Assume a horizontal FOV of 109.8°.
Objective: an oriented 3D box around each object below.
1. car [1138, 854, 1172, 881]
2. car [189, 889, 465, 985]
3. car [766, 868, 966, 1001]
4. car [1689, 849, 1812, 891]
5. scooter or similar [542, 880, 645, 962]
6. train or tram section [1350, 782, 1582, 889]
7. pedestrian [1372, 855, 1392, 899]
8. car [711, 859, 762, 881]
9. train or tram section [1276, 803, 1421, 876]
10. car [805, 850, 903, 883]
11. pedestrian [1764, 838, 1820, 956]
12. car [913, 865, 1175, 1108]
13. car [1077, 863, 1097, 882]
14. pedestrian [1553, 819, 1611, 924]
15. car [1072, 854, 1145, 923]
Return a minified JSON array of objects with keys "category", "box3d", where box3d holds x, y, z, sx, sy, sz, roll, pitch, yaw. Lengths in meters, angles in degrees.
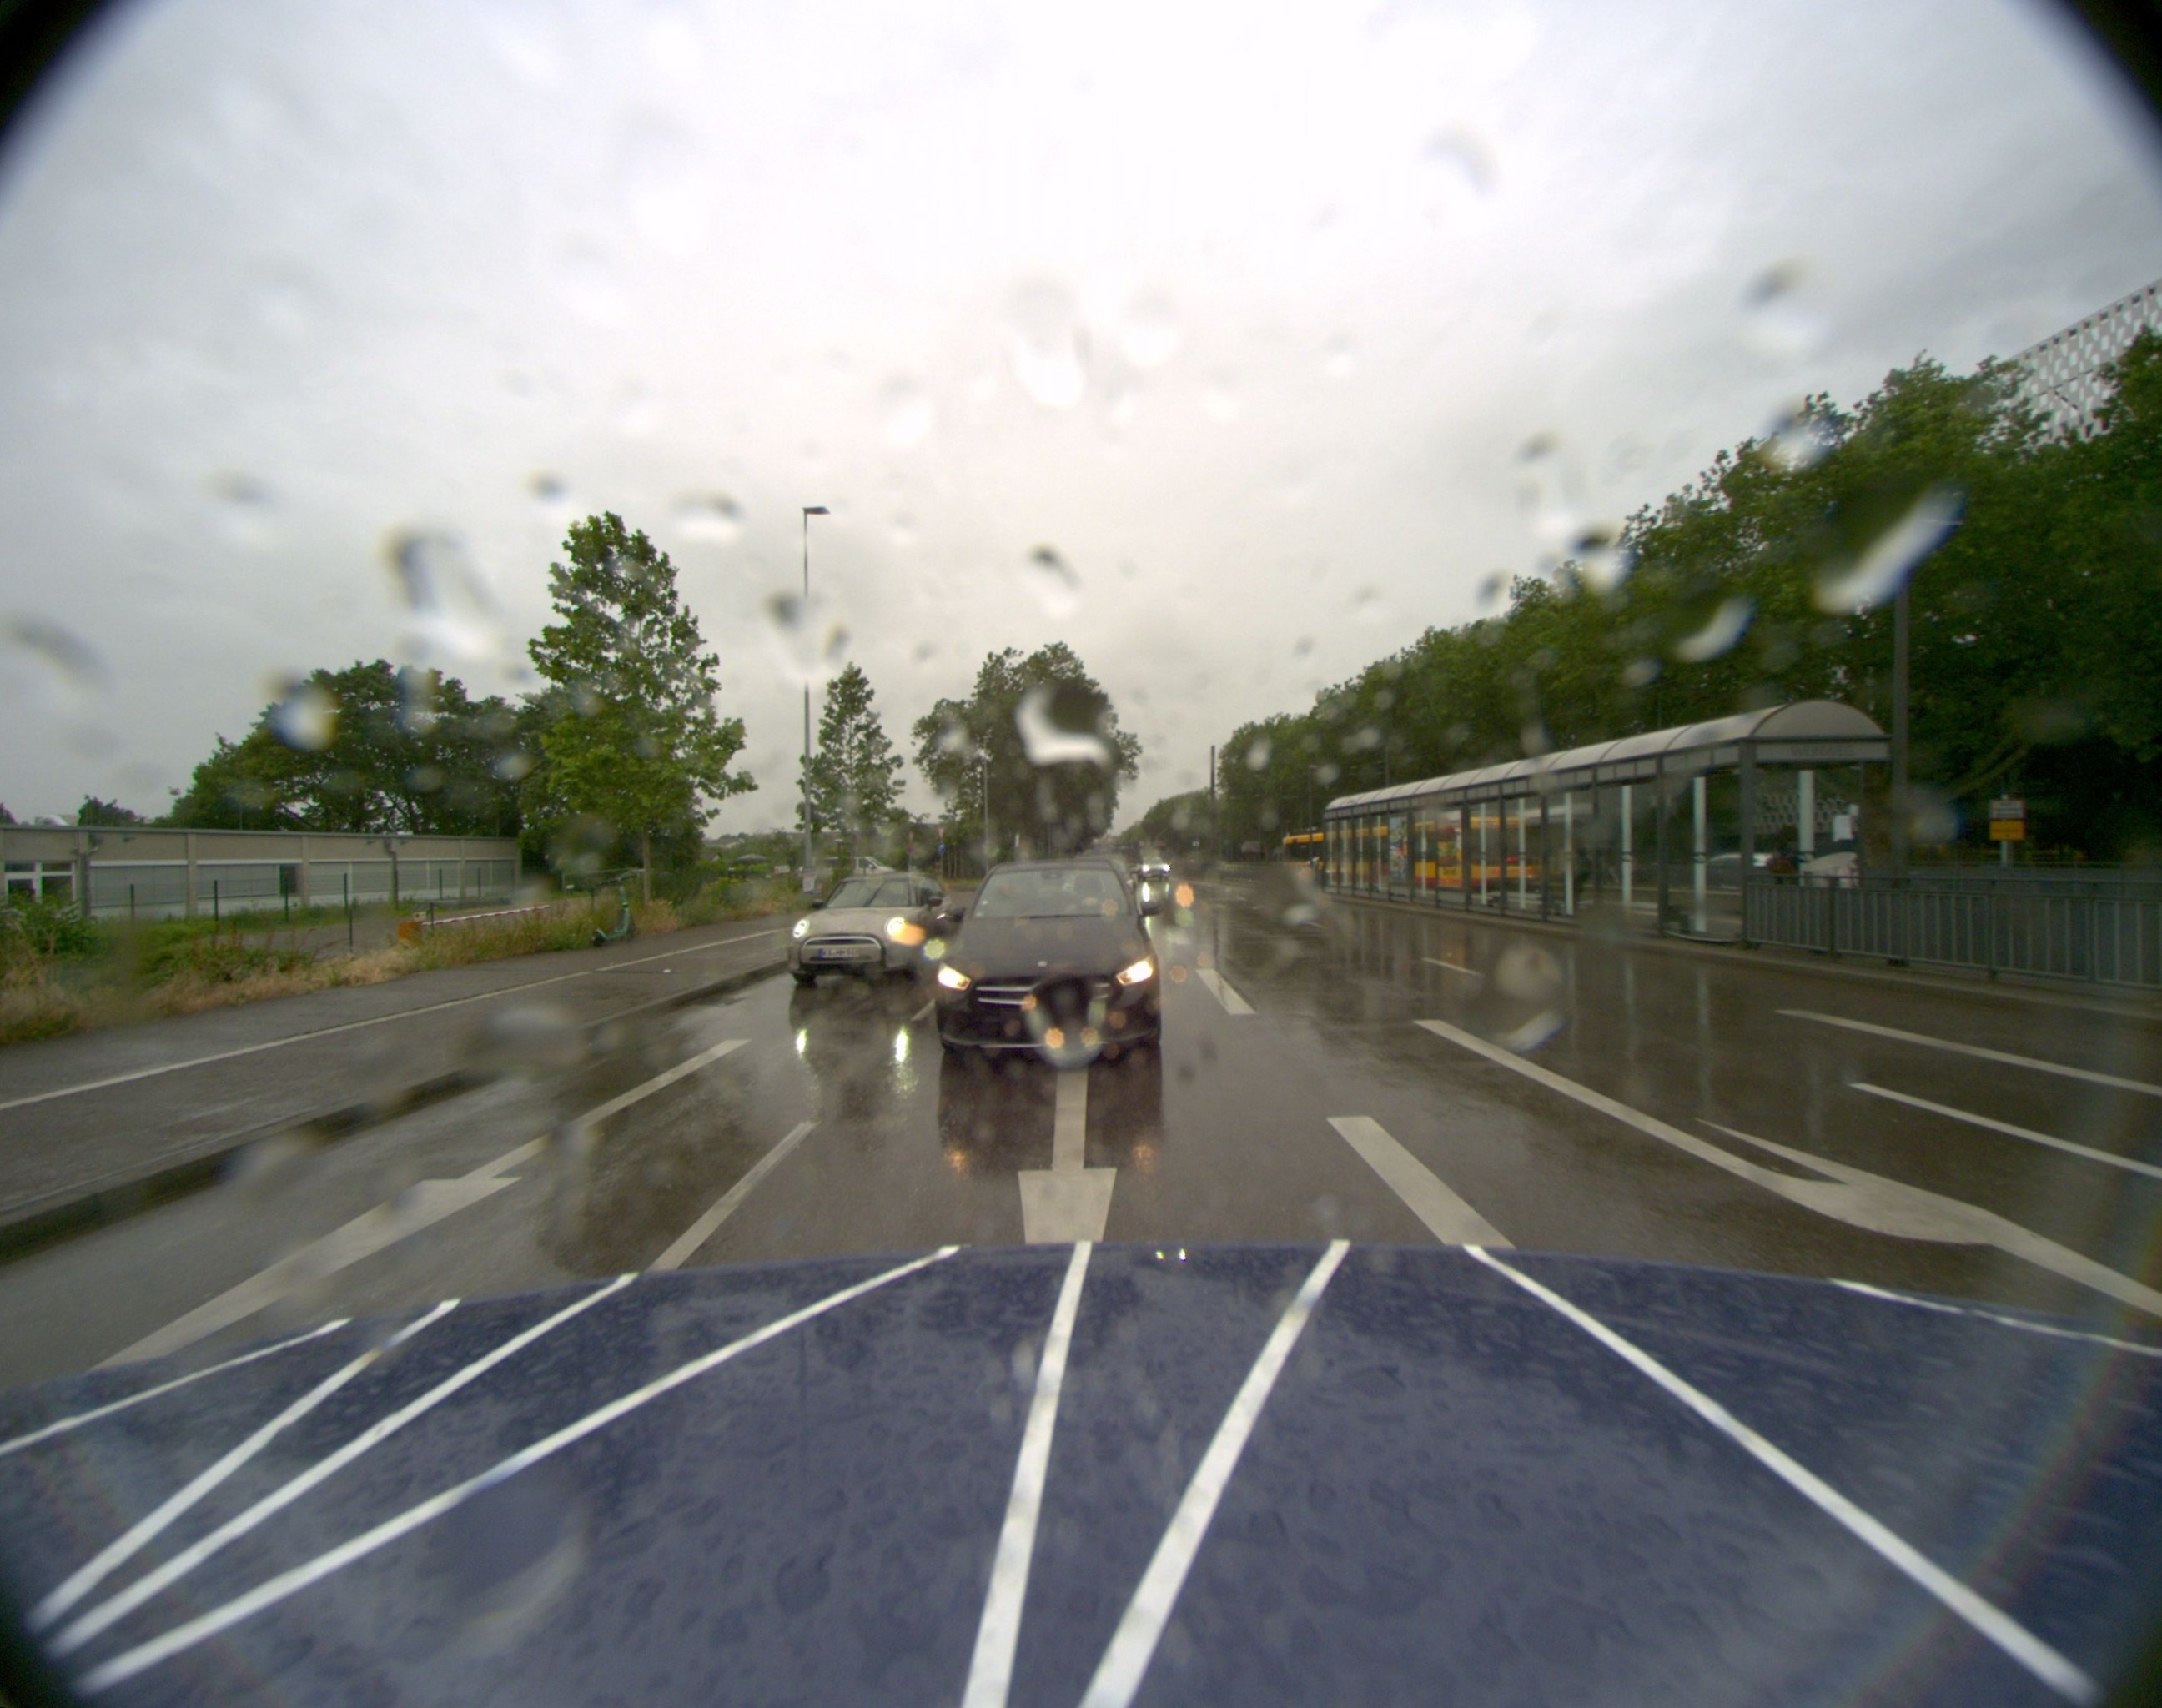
[{"category":"car","box3d":[5.317,0.914,55.093,1.935,1.765,4.663,-2,1,1]},{"category":"car","box3d":[-12.064,1.310,12.258,3.243,1.281,1.345,-2,1,6]},{"category":"car","box3d":[-2.921,1.019,11.204,1.707,1.499,3.880,-2,0,1]},{"category":"car","box3d":[25.916,0.567,29.557,1.585,1.455,3.427,-3,1,-6]},{"category":"scooter or similar","box3d":[-8.226,1.093,12.918,0.367,1.192,1.913,-2,1,4]},{"category":"train or tram section","box3d":[16.577,-0.755,34.720,3.751,3.817,13.253,-2,1,0]},{"category":"pedestrian","box3d":[8.663,0.659,21.876,0.458,1.229,0.467,-1,2,15]},{"category":"car","box3d":[-28.278,1.299,62.448,3.552,1.575,1.345,-2,1,6]},{"category":"train or tram section","box3d":[16.559,-0.870,49.131,3.751,3.777,15.569,-2,1,0]},{"category":"car","box3d":[-13.537,0.746,45.536,5.174,1.715,2.006,-2,1,-1]},{"category":"pedestrian","box3d":[9.180,0.540,9.820,0.321,1.485,0.415,-3,2,6]},{"category":"car","box3d":[-0.392,0.940,7.339,1.759,1.572,4.167,-2,0,-4]},{"category":"car","box3d":[0.562,1.545,65.735,1.557,1.500,3.618,-2,0,2]},{"category":"pedestrian","box3d":[9.237,0.311,14.029,0.655,1.860,0.773,-2,1,17]},{"category":"car","box3d":[0.699,0.808,19.838,1.689,1.611,4.000,0,0,2]}]
